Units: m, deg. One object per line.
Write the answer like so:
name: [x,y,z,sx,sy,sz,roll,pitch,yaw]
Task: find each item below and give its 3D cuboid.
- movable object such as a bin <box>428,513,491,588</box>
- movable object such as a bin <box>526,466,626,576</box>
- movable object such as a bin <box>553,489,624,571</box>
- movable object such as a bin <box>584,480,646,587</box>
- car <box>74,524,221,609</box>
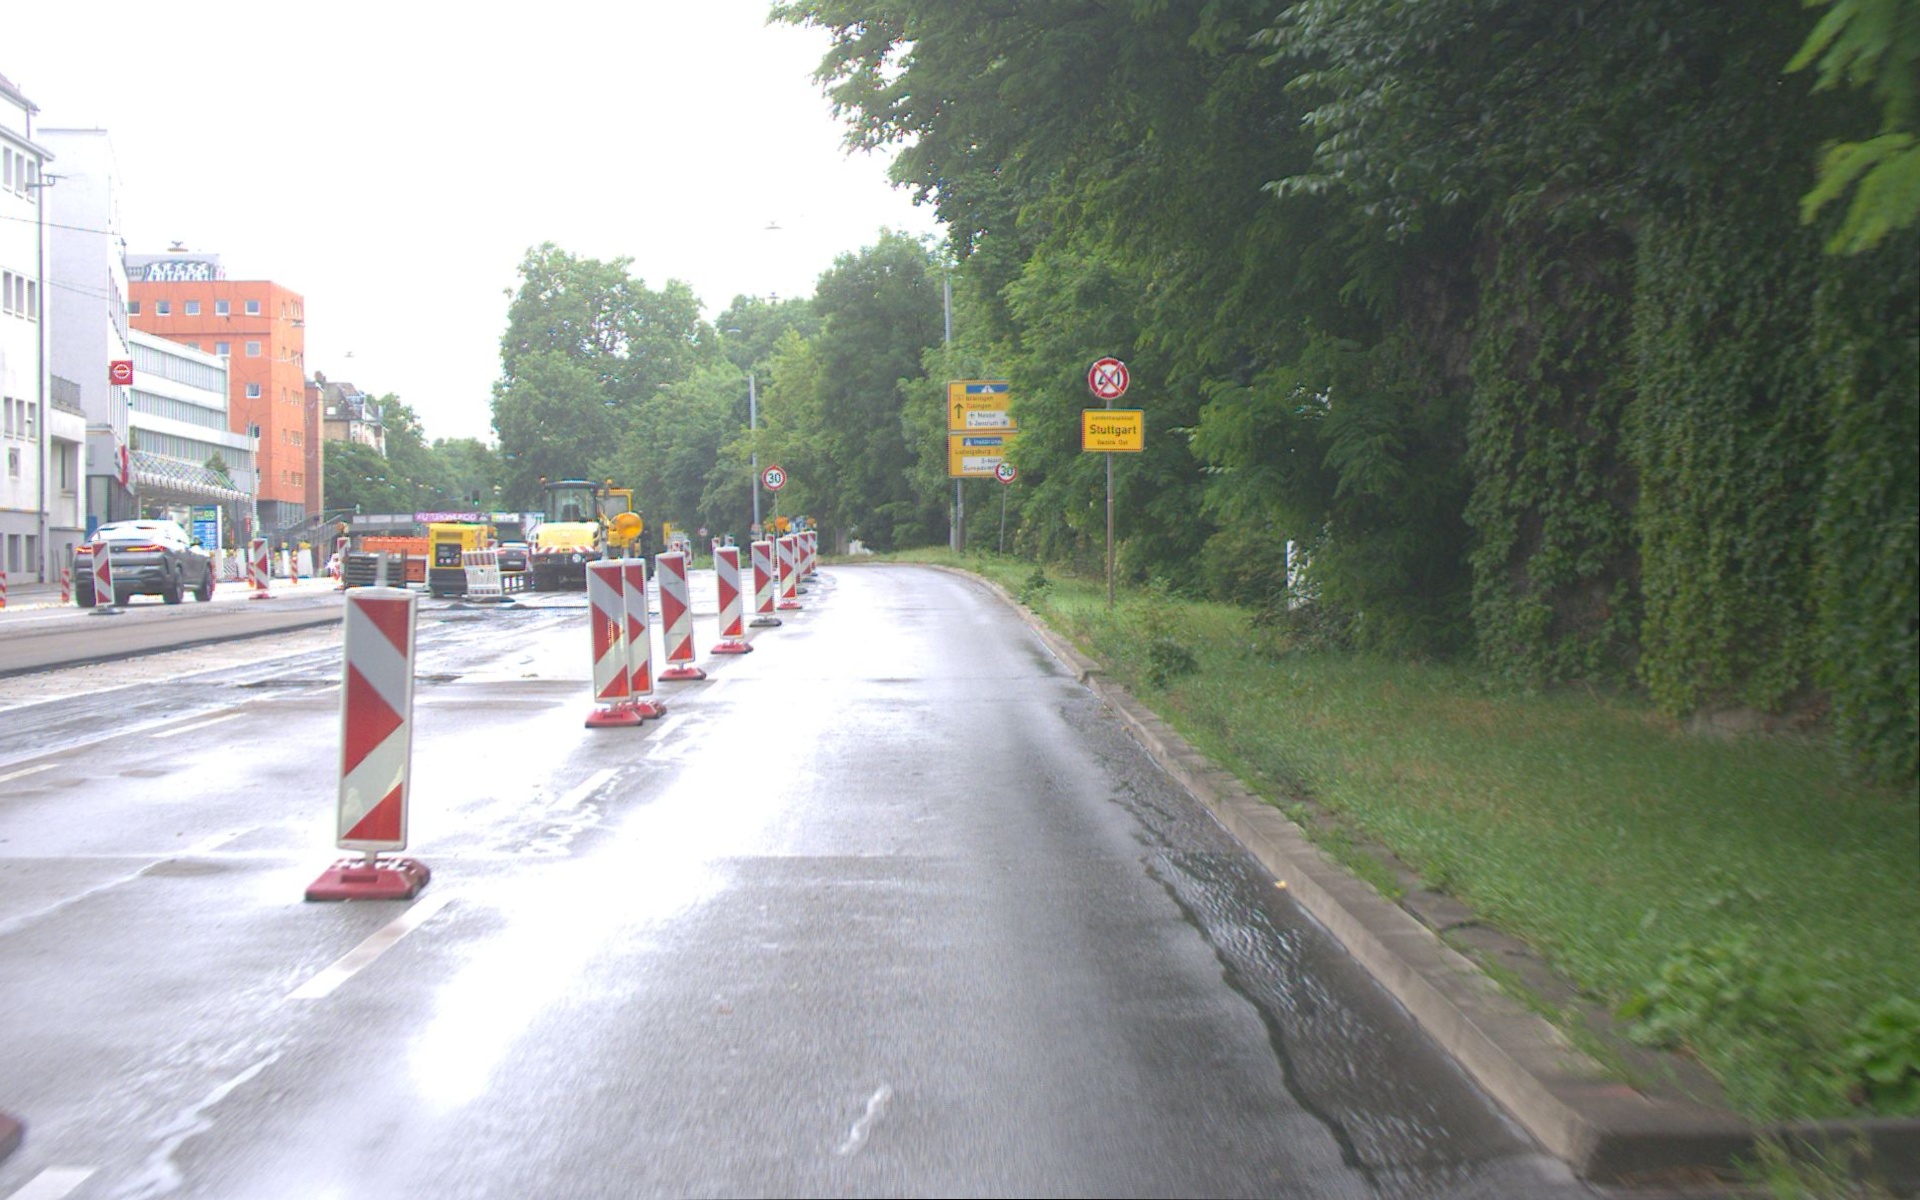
movable object such as a bin: [-11.087,-1.106,76.271,1.083,1.639,2.439,0,1,-1]
movable object such as a bin: [-9.414,-1.938,84.546,1.902,2.600,5.383,-1,1,-1]
movable object such as a bin: [-9.754,-1.850,90.534,1.362,2.083,5.030,-1,1,-1]
movable object such as a bin: [-10.022,-1.944,100.085,1.465,2.998,3.725,-2,1,-2]
car: [-16.241,-0.679,68.913,1.893,1.644,4.396,0,1,0]
